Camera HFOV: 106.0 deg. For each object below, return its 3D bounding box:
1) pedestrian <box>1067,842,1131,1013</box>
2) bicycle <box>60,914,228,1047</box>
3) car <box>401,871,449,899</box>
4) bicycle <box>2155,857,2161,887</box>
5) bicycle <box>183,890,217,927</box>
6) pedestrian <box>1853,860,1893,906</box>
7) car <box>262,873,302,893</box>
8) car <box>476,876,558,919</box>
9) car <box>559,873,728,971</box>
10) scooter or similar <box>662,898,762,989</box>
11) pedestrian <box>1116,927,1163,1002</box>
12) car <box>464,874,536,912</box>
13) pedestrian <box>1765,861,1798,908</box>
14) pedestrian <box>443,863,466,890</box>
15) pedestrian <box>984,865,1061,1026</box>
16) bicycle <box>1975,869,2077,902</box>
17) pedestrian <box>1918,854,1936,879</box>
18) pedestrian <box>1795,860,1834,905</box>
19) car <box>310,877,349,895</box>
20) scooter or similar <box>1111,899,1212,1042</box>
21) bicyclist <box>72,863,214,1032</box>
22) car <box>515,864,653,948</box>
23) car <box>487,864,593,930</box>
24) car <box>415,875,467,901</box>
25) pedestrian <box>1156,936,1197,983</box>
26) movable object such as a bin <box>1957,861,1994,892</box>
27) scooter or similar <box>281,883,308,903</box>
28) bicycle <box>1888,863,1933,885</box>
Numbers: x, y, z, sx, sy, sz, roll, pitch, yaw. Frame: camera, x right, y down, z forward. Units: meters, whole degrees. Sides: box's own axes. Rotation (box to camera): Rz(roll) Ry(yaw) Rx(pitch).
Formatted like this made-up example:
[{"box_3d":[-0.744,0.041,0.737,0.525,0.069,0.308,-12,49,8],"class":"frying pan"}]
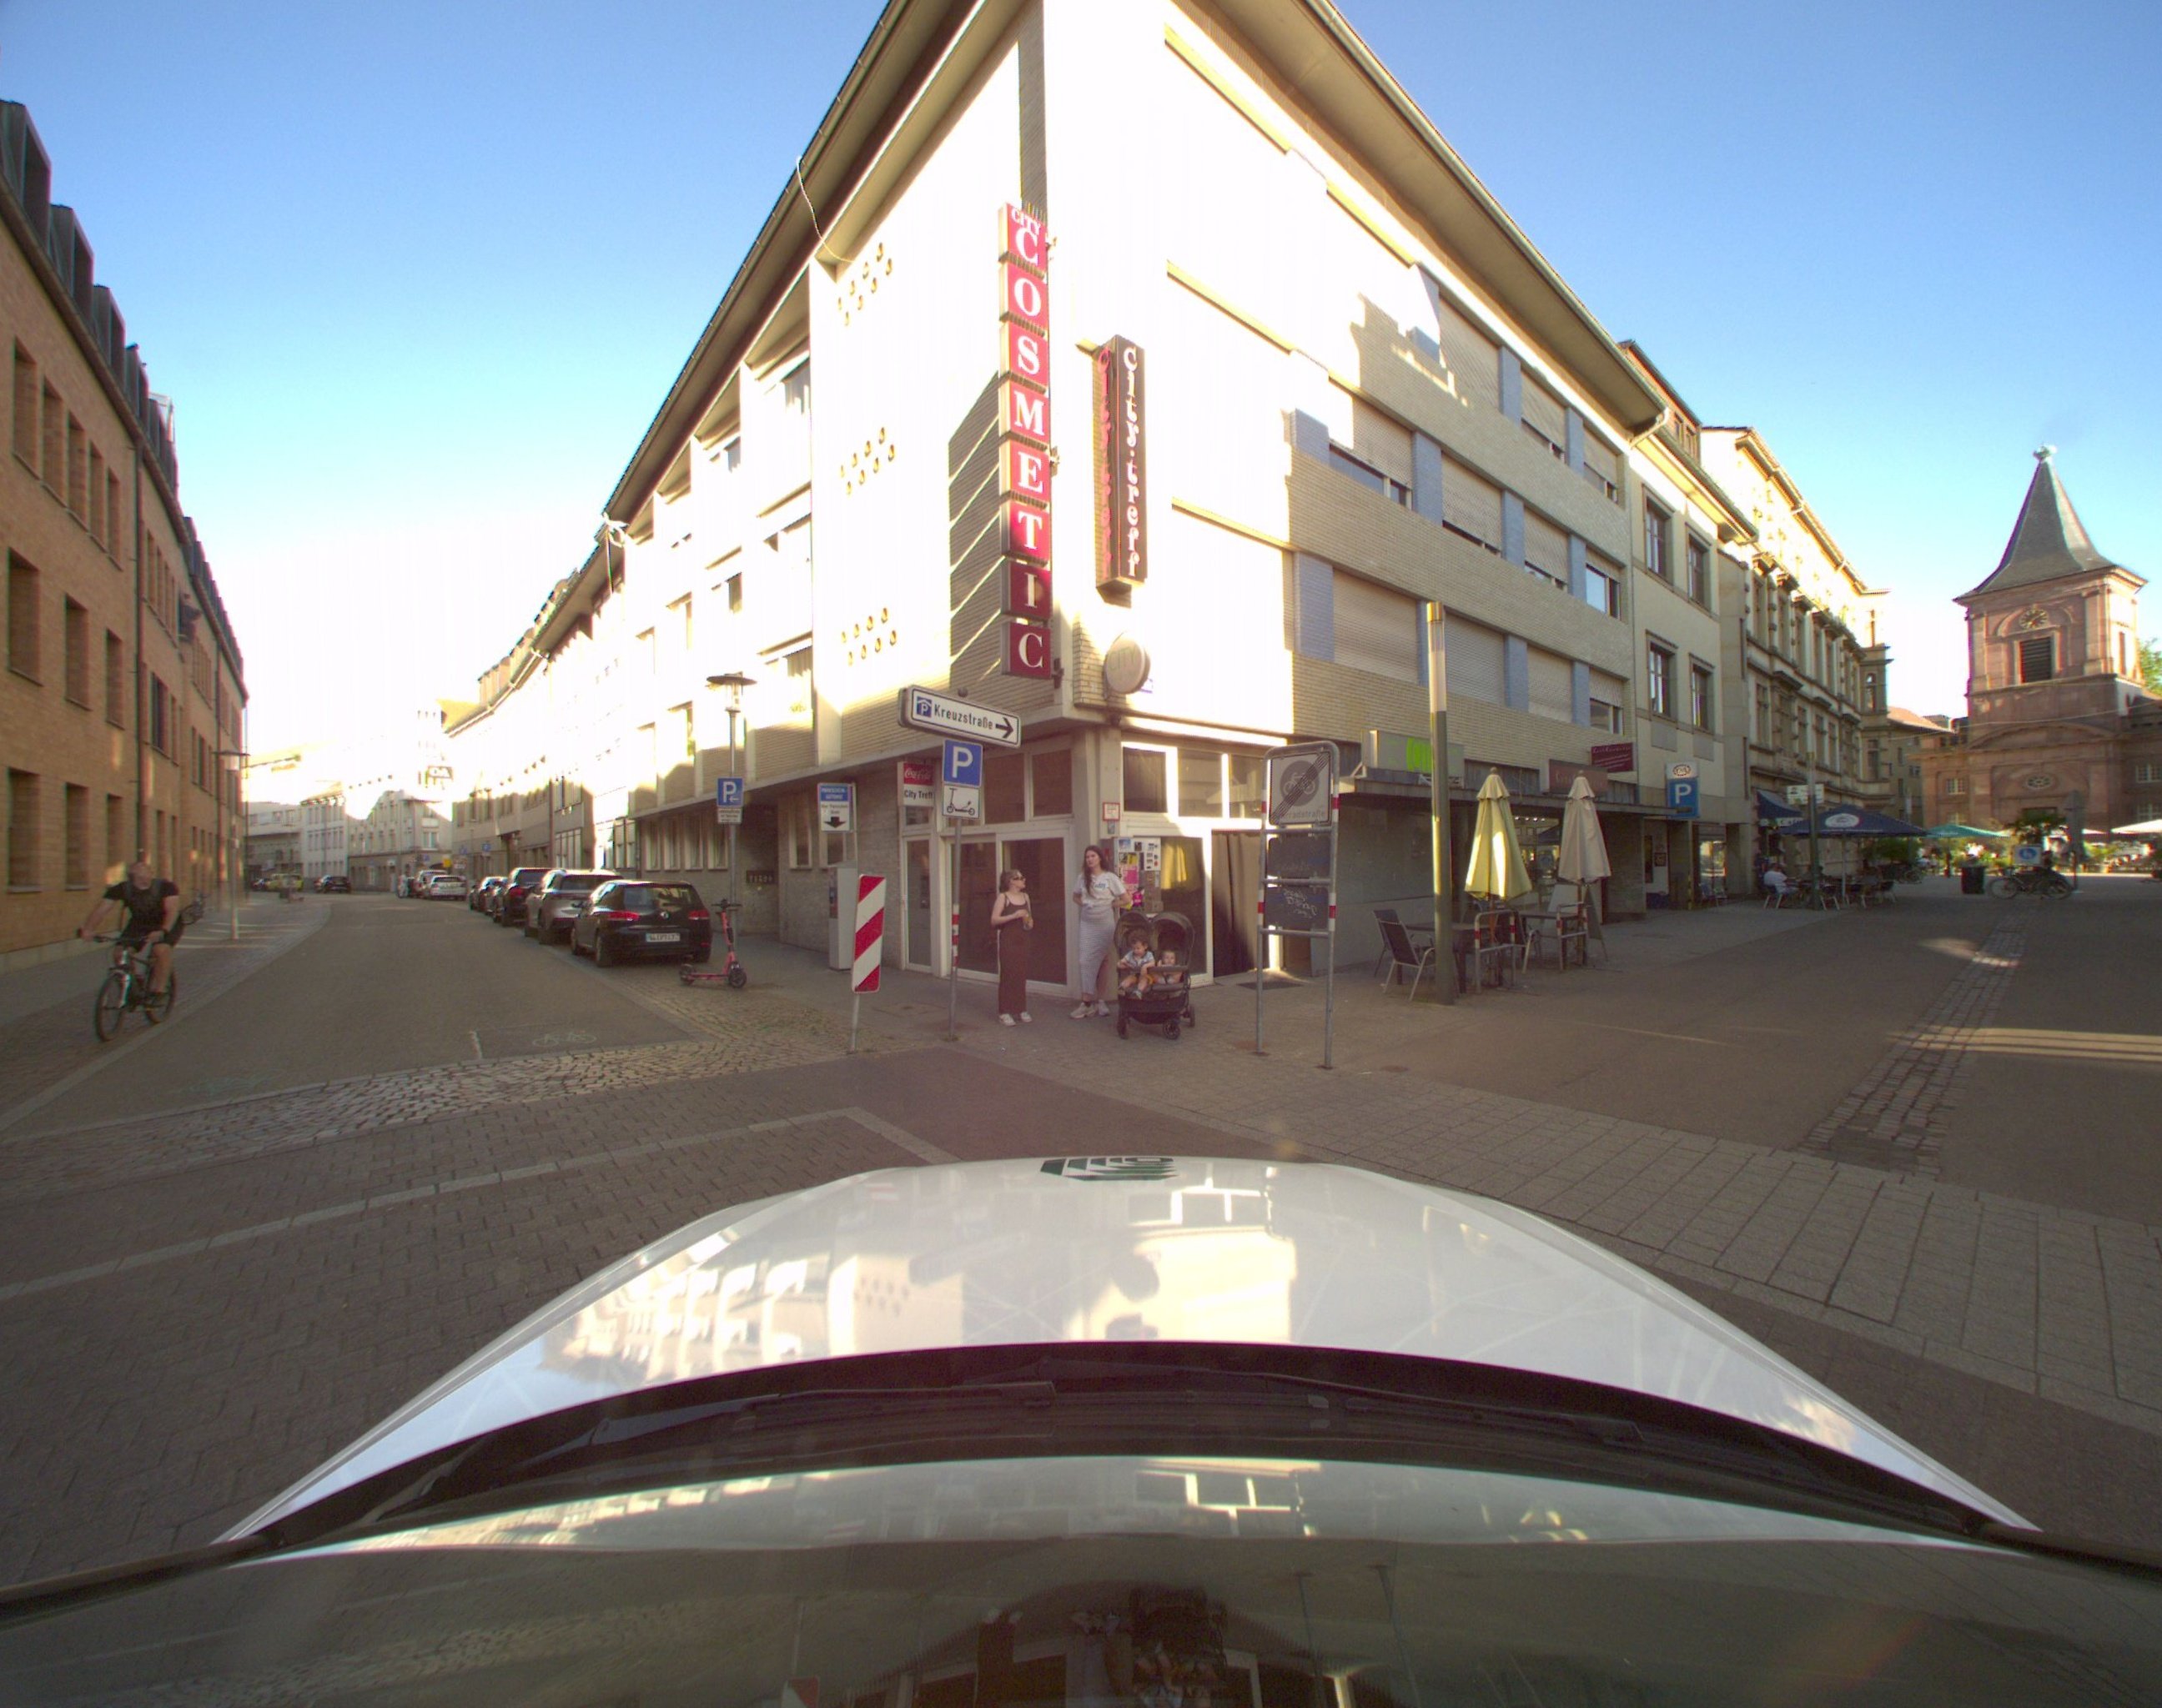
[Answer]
[{"box_3d":[0.201,0.751,8.621,0.622,1.736,0.623,-1,-1,3],"class":"pedestrian"},{"box_3d":[-9.963,1.285,8.738,0.656,1.131,1.718,-5,2,-33],"class":"bicycle"},{"box_3d":[-43.049,2.012,53.412,5.148,1.791,1.847,-2,-2,44],"class":"car"},{"box_3d":[43.177,0.702,31.738,1.806,1.154,0.410,-1,-1,8],"class":"bicycle"},{"box_3d":[-29.189,1.795,26.969,1.781,1.163,0.637,-1,-4,40],"class":"bicycle"},{"box_3d":[24.157,0.877,24.851,0.553,1.355,0.756,0,-1,-36],"class":"pedestrian"},{"box_3d":[-83.920,3.014,85.552,4.121,2.014,2.072,-1,-1,32],"class":"car"},{"box_3d":[-20.399,1.504,29.369,1.823,1.413,4.732,3,-3,-42],"class":"car"},{"box_3d":[-8.217,1.145,15.083,1.838,1.505,4.545,3,-3,-40],"class":"car"},{"box_3d":[-5.185,1.232,11.440,1.291,1.194,0.497,-1,-1,21],"class":"scooter or similar"},{"box_3d":[0.551,1.020,7.617,0.328,0.633,0.511,-1,-1,16],"class":"pedestrian"},{"box_3d":[-24.110,1.562,33.718,1.910,1.453,5.163,2,-2,-41],"class":"car"},{"box_3d":[20.341,0.879,23.640,0.554,1.355,0.658,0,-1,-45],"class":"pedestrian"},{"box_3d":[-42.377,1.518,55.088,1.184,1.801,1.051,-3,-2,44],"class":"pedestrian"},{"box_3d":[-0.594,0.899,8.280,0.576,1.540,0.437,-3,1,-32],"class":"pedestrian"},{"box_3d":[31.182,1.008,26.909,0.820,0.983,2.144,0,0,-36],"class":"bicycle"},{"box_3d":[49.049,0.735,47.214,0.621,1.450,0.802,-2,-1,42],"class":"pedestrian"},{"box_3d":[22.676,0.875,25.181,0.553,1.355,0.756,0,-1,-36],"class":"pedestrian"},{"box_3d":[-70.368,2.978,76.255,4.048,1.692,1.986,-1,-2,37],"class":"car"},{"box_3d":[0.734,1.062,7.705,0.865,1.176,1.046,-1,1,2],"class":"scooter or similar"},{"box_3d":[-9.958,0.944,8.691,0.667,1.642,0.916,-5,1,-33],"class":"bicyclist"},{"box_3d":[-11.753,1.139,19.104,2.010,1.702,4.786,3,-3,-40],"class":"car"},{"box_3d":[-16.481,1.235,24.686,2.121,1.786,4.992,1,-2,-40],"class":"car"},{"box_3d":[-38.583,2.046,49.068,4.115,1.478,1.857,-2,-3,44],"class":"car"},{"box_3d":[0.897,0.981,7.600,0.328,0.398,0.314,-1,-1,15],"class":"pedestrian"},{"box_3d":[33.131,0.829,30.165,0.784,1.123,0.894,0,-1,-42],"class":"movable object such as a bin"},{"box_3d":[-50.226,2.481,52.017,0.699,1.217,1.349,-1,0,-18],"class":"scooter or similar"},{"box_3d":[38.226,0.929,37.538,0.506,1.003,1.393,-1,-1,-10],"class":"bicycle"}]
